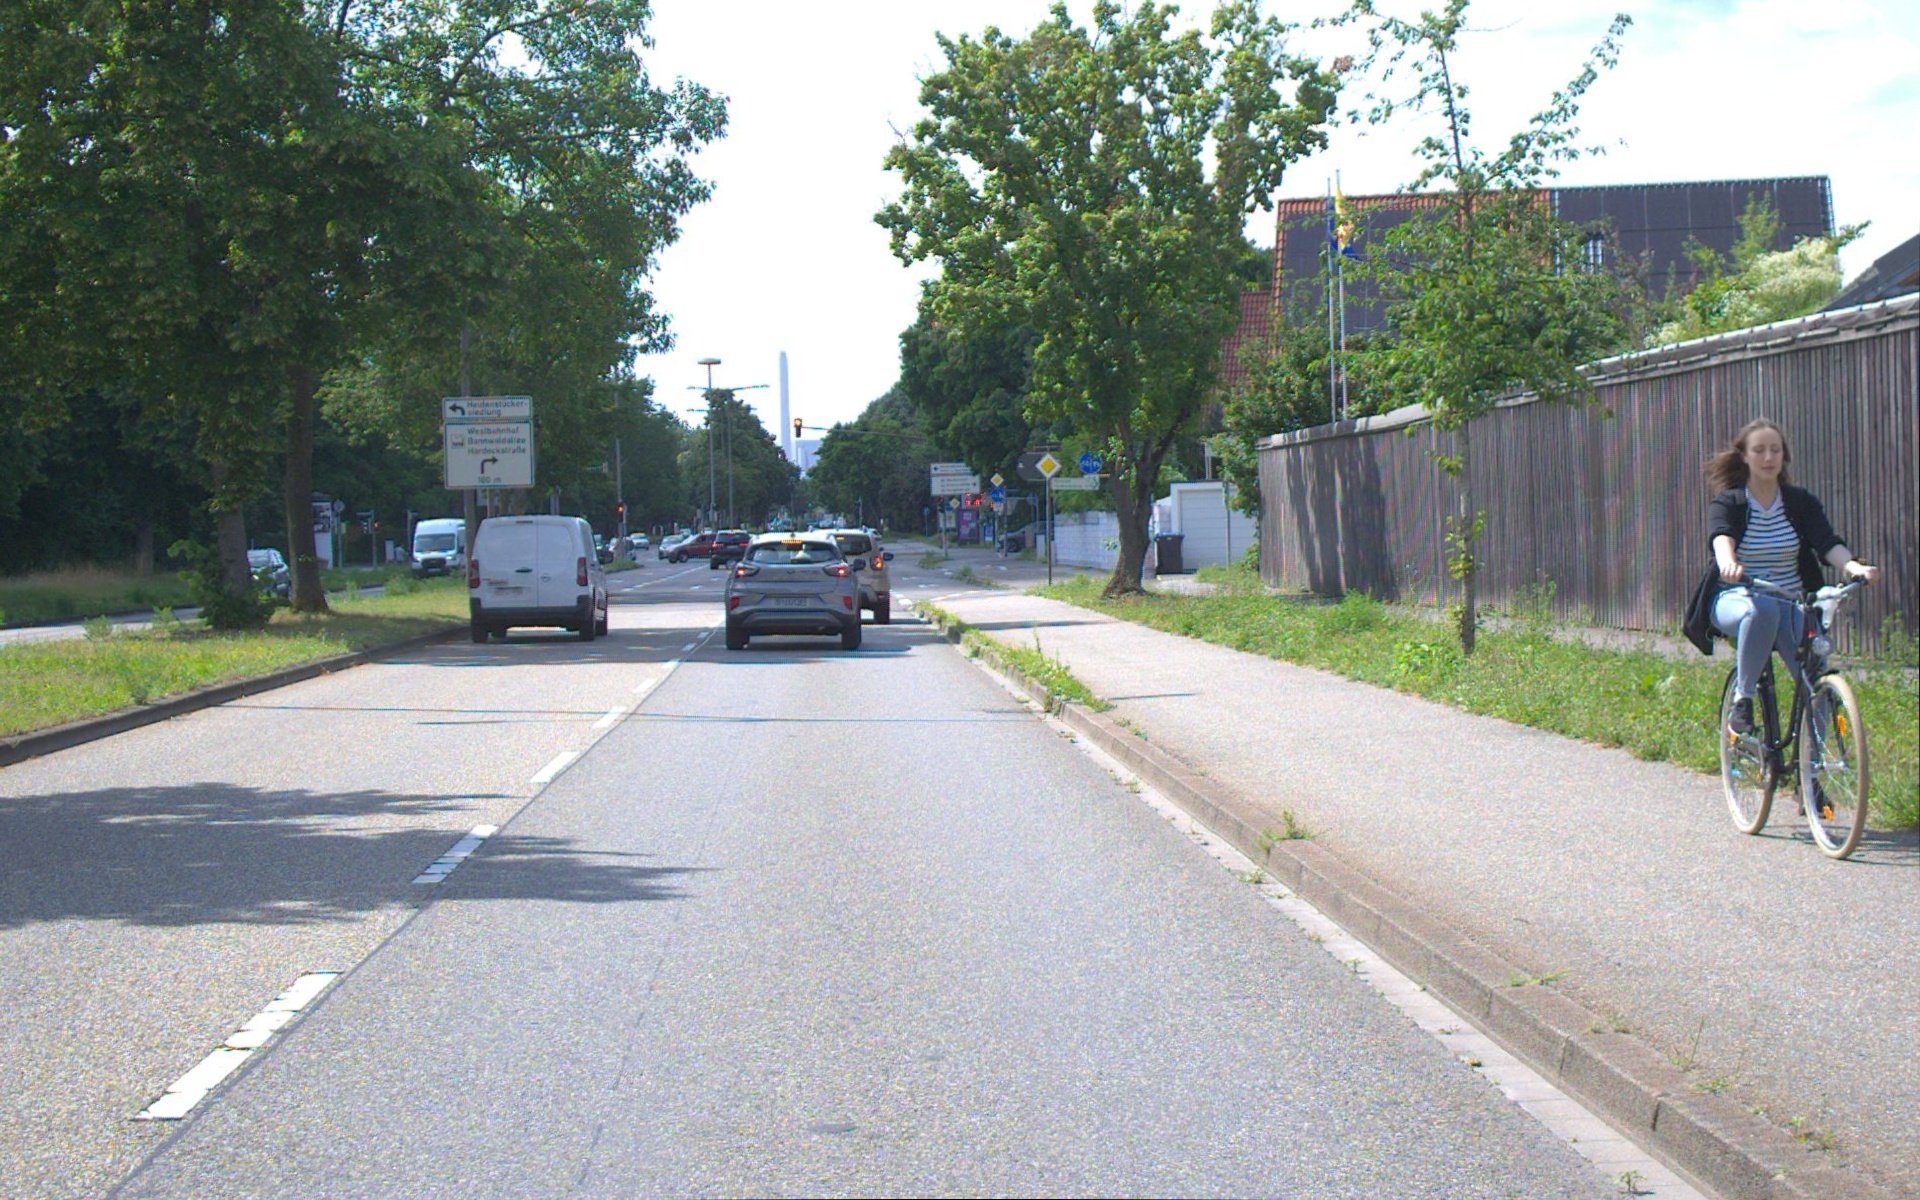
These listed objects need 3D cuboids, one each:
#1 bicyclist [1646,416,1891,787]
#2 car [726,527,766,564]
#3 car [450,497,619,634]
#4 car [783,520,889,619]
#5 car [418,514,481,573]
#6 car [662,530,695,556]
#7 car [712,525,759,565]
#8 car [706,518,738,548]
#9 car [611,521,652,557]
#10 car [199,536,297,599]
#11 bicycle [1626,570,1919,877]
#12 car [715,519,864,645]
[{"bbox_3d":[3.244,-0.005,13.868,0.654,1.407,0.986,-4,1,-1],"label":"bicyclist"},{"bbox_3d":[-10.321,-2.637,165.816,1.779,1.761,4.169,-1,1,-2],"label":"car"},{"bbox_3d":[-6.265,-0.547,51.112,2.065,1.905,4.647,-1,1,-2],"label":"car"},{"bbox_3d":[-2.185,-0.566,60.664,1.779,1.637,4.197,-1,1,-2],"label":"car"},{"bbox_3d":[-21.891,-2.430,147.591,2.045,2.423,5.250,-1,1,-2],"label":"car"},{"bbox_3d":[-17.869,-3.640,218.367,1.892,1.583,4.110,-1,1,-2],"label":"car"},{"bbox_3d":[-10.143,-2.490,155.430,1.941,1.761,4.147,-1,1,-2],"label":"car"},{"bbox_3d":[-14.450,-4.065,208.726,1.779,1.761,4.151,-1,1,-2],"label":"car"},{"bbox_3d":[-16.630,-3.095,174.057,1.779,1.761,4.126,-1,1,-2],"label":"car"},{"bbox_3d":[-20.270,-0.957,98.027,1.993,1.700,4.194,-1,1,-2],"label":"car"},{"bbox_3d":[3.274,0.445,13.809,0.646,1.064,2.278,-4,1,-1],"label":"bicycle"},{"bbox_3d":[-2.264,-0.283,46.345,1.875,1.583,4.185,-1,1,-2],"label":"car"}]
